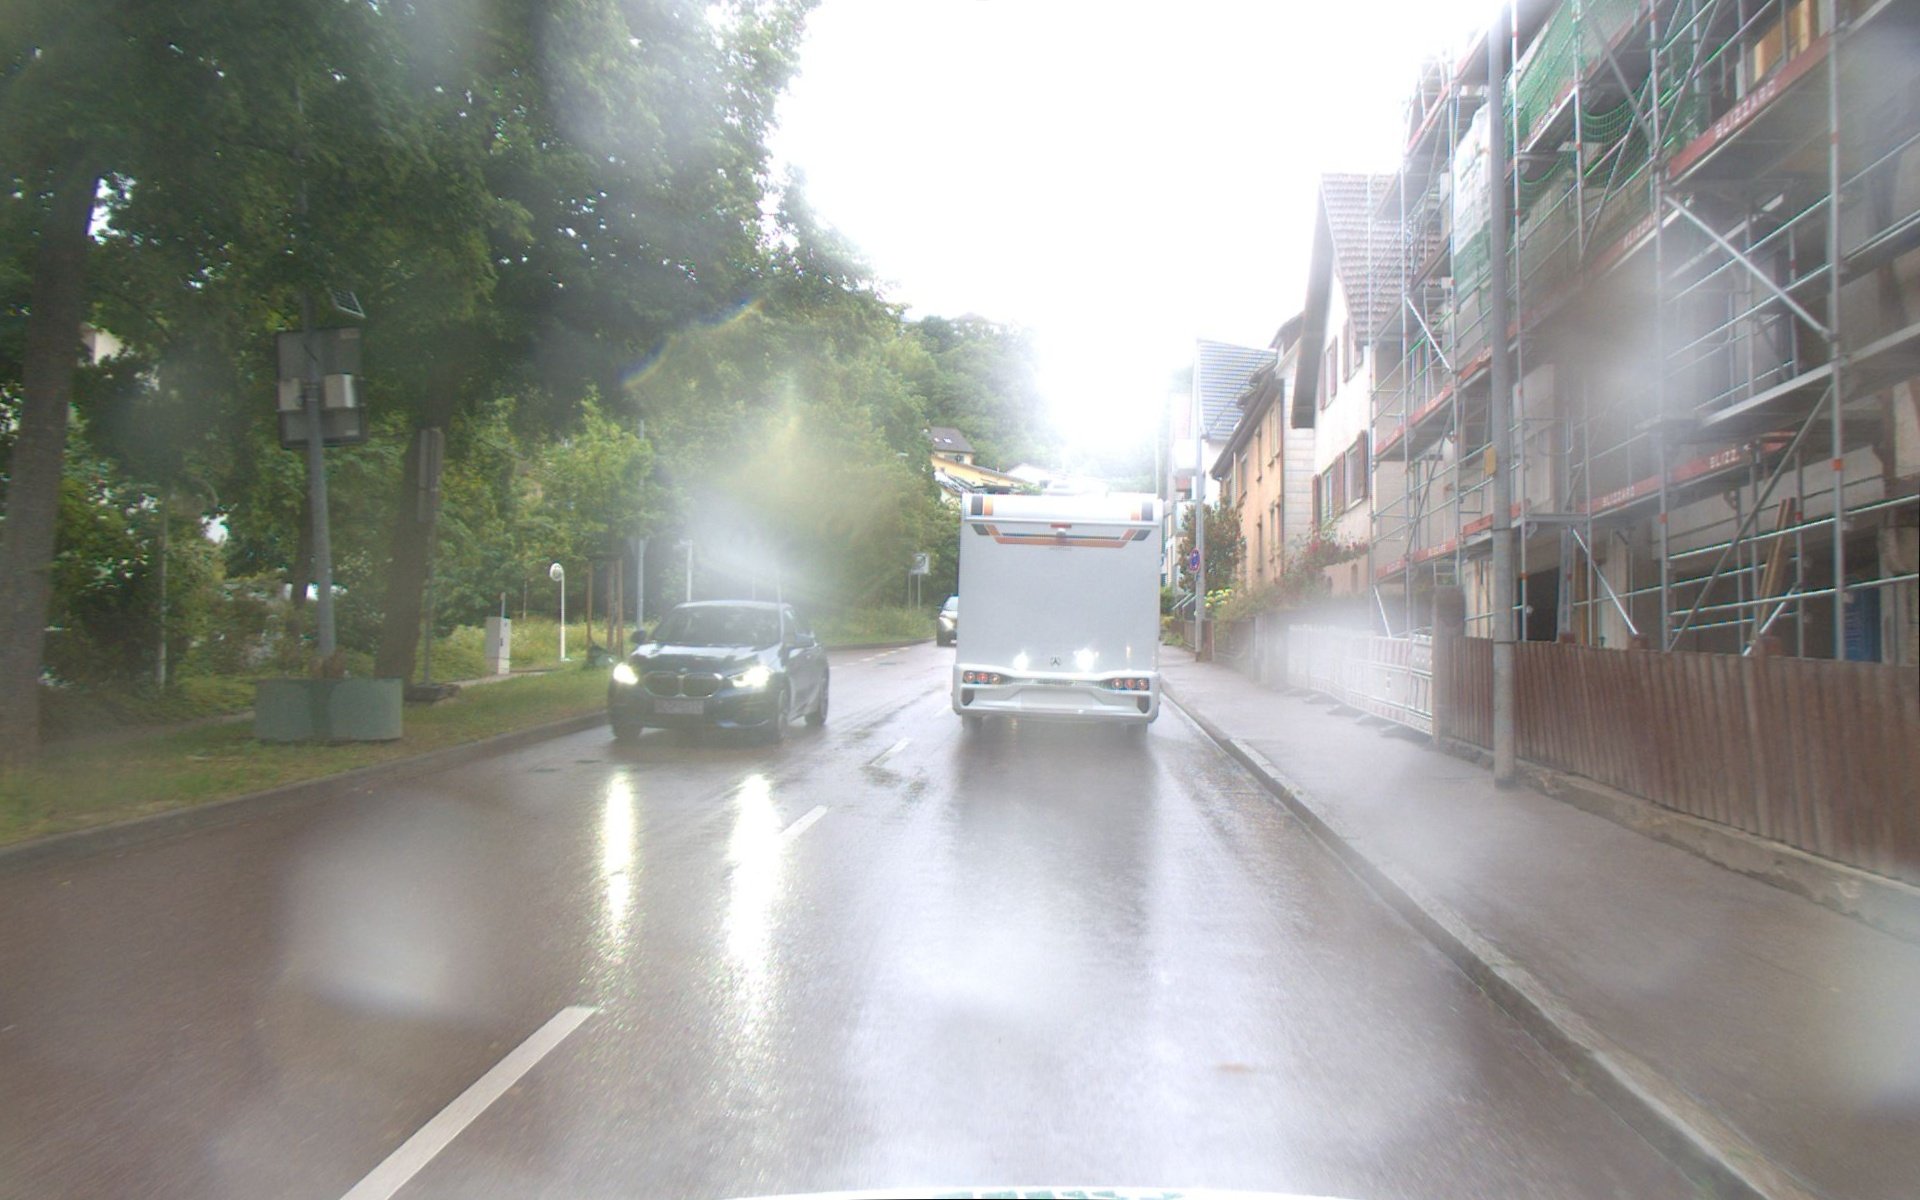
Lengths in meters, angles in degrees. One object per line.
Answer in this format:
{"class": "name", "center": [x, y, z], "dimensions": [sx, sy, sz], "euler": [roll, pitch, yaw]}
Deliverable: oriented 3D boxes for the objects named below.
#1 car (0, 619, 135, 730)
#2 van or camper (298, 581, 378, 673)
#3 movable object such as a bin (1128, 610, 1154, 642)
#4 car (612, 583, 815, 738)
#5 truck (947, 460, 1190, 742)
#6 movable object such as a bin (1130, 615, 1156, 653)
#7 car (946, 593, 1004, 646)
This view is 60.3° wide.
{"class": "car", "center": [-13.139, 0.990, 23.108], "dimensions": [1.958, 1.352, 3.438], "euler": [2, 0, -11]}
{"class": "van or camper", "center": [-19.177, 0.777, 50.841], "dimensions": [1.616, 2.601, 6.015], "euler": [3, -1, -26]}
{"class": "movable object such as a bin", "center": [6.541, 0.947, 59.795], "dimensions": [0.894, 1.122, 0.702], "euler": [1, 0, 7]}
{"class": "car", "center": [-2.571, 0.588, 18.123], "dimensions": [1.729, 1.466, 4.062], "euler": [2, 0, -2]}
{"class": "truck", "center": [1.320, 0.020, 20.298], "dimensions": [2.463, 2.867, 6.204], "euler": [1, 0, 4]}
{"class": "movable object such as a bin", "center": [5.312, 0.971, 48.051], "dimensions": [0.704, 1.070, 0.800], "euler": [1, 0, 7]}
{"class": "car", "center": [0.551, 0.669, 57.070], "dimensions": [1.714, 1.718, 4.378], "euler": [1, 0, 4]}
